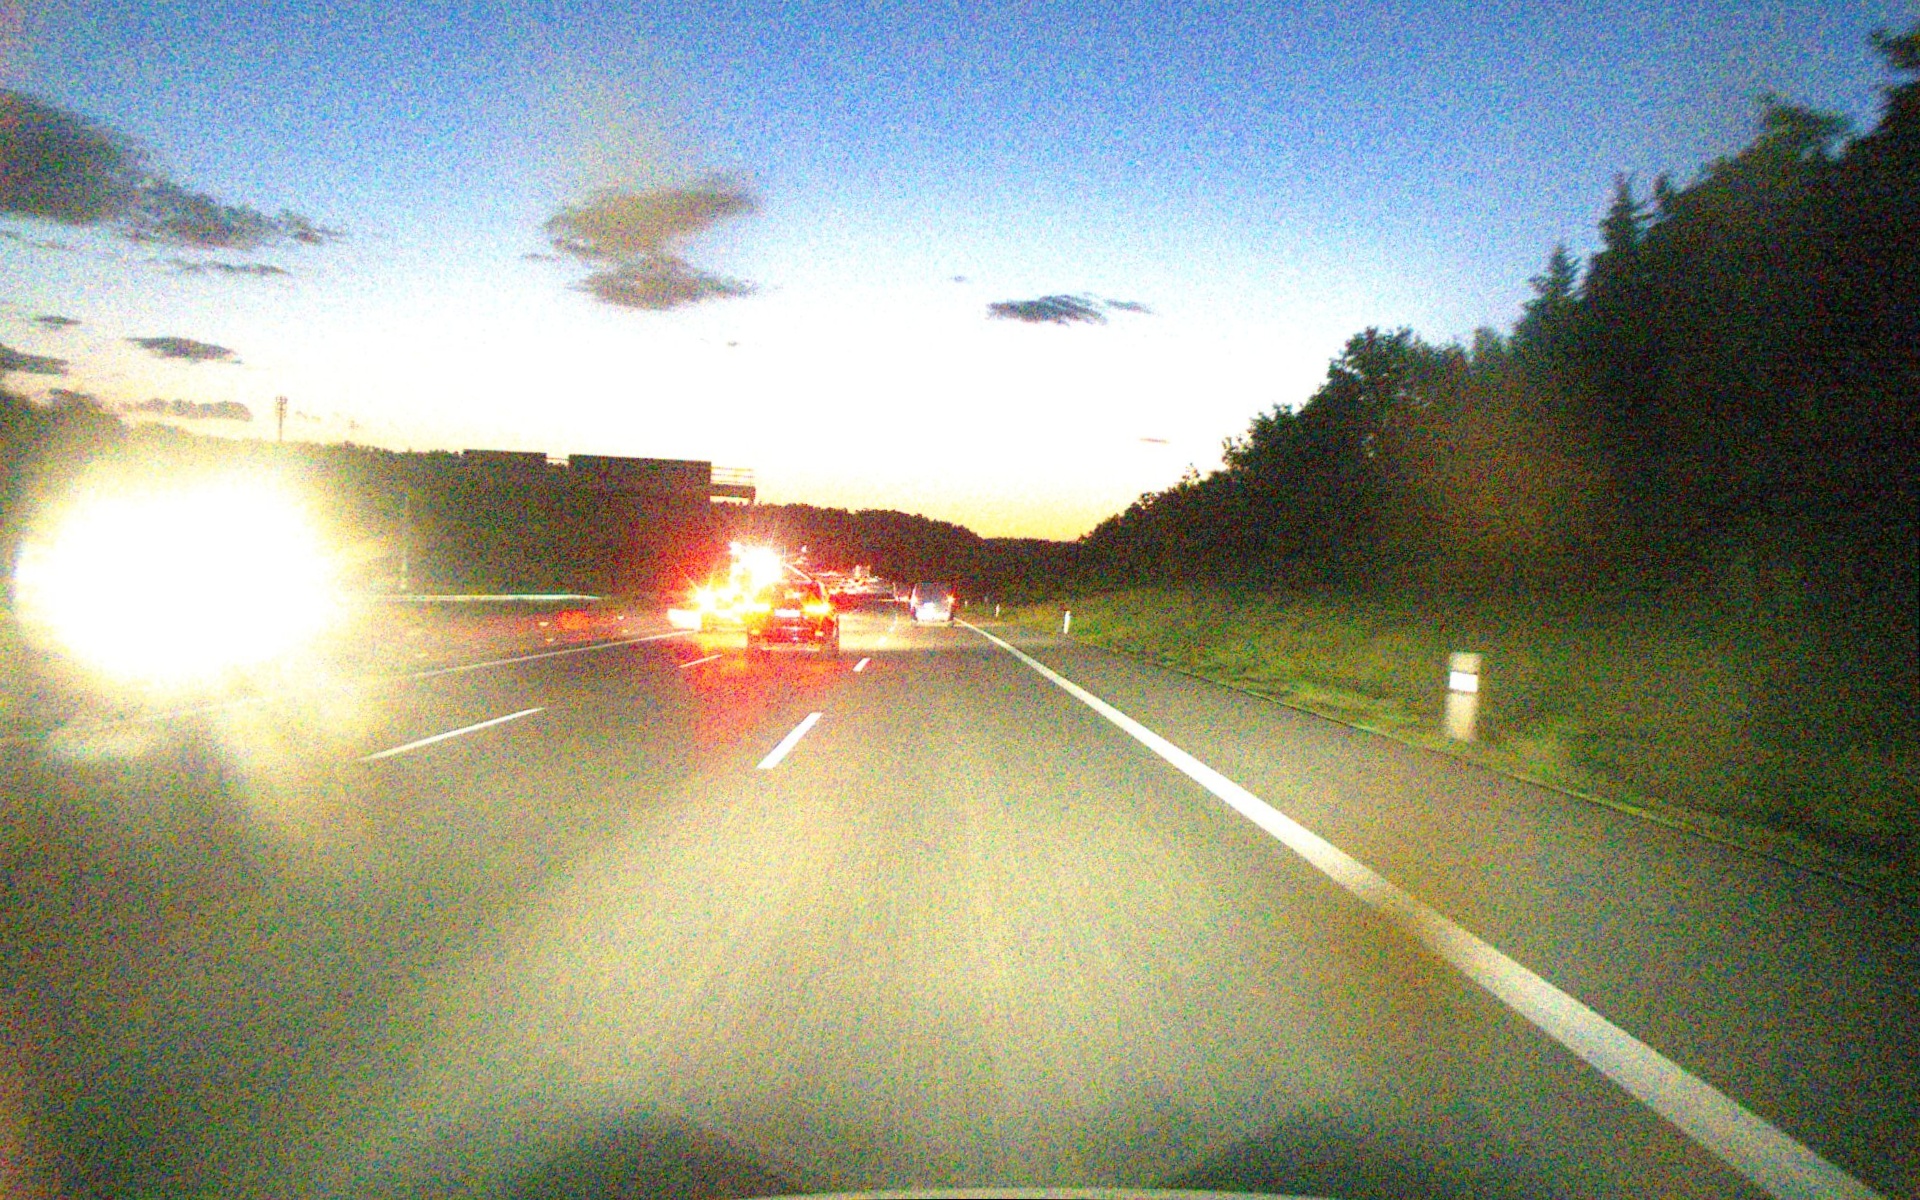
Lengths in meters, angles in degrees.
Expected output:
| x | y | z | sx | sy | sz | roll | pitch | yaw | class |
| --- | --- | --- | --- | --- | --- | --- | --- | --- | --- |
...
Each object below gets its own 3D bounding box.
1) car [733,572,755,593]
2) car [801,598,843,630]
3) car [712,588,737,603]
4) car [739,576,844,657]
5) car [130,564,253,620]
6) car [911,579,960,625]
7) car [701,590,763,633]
| x | y | z | sx | sy | sz | roll | pitch | yaw | class |
| --- | --- | --- | --- | --- | --- | --- | --- | --- | --- |
| -32.039 | -2.573 | 245.705 | 2.409 | 2.987 | 8.329 | 1 | 0 | -3 | car |
| -7.620 | 0.767 | 91.623 | 1.743 | 1.512 | 5.254 | 4 | 1 | 1 | car |
| -24.438 | -0.486 | 171.522 | 1.953 | 1.535 | 5.183 | 1 | 0 | -2 | car |
| -3.853 | 0.354 | 38.786 | 1.953 | 1.751 | 5.941 | 0 | 0 | -1 | car |
| -22.732 | -0.233 | 49.061 | 1.954 | 1.535 | 3.997 | 1 | 0 | -4 | car |
| -1.183 | 0.063 | 76.175 | 2.152 | 1.989 | 4.762 | 0 | 1 | -2 | car |
| -7.994 | 0.381 | 58.392 | 1.518 | 1.456 | 5.513 | 1 | 0 | -1 | car |
